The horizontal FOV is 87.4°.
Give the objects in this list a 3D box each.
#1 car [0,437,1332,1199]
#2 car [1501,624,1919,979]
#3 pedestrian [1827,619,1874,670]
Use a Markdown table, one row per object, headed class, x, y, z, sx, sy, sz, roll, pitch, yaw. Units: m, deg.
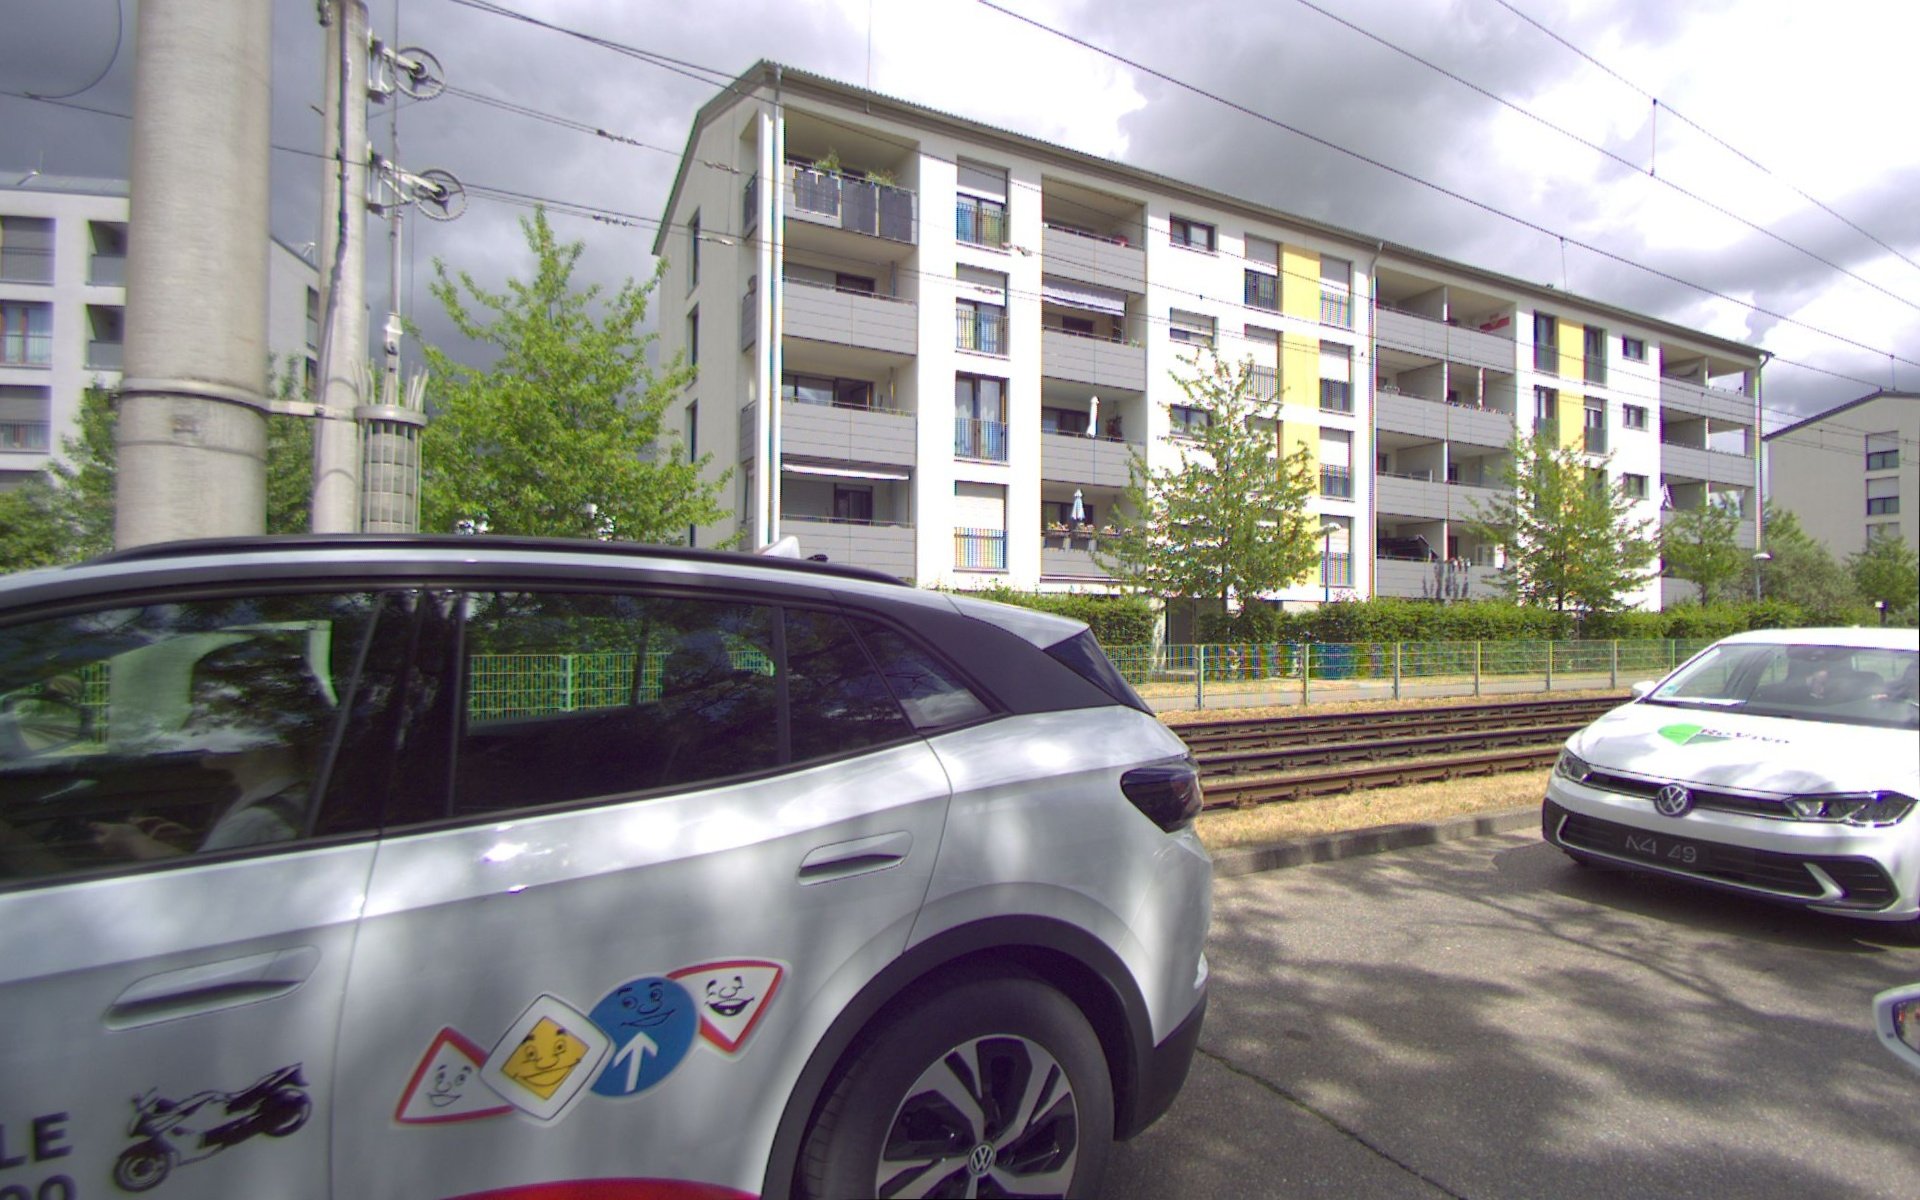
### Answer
| class | x | y | z | sx | sy | sz | roll | pitch | yaw |
| --- | --- | --- | --- | --- | --- | --- | --- | --- | --- |
| car | -1.415 | 0.672 | 2.163 | 4.382 | 1.713 | 1.848 | 1 | -1 | -31 |
| car | 5.126 | 0.863 | 5.865 | 3.895 | 1.425 | 1.738 | 1 | -1 | -31 |
| pedestrian | 27.001 | 1.329 | 30.451 | 0.983 | 1.503 | 0.792 | 0 | 0 | -29 |
